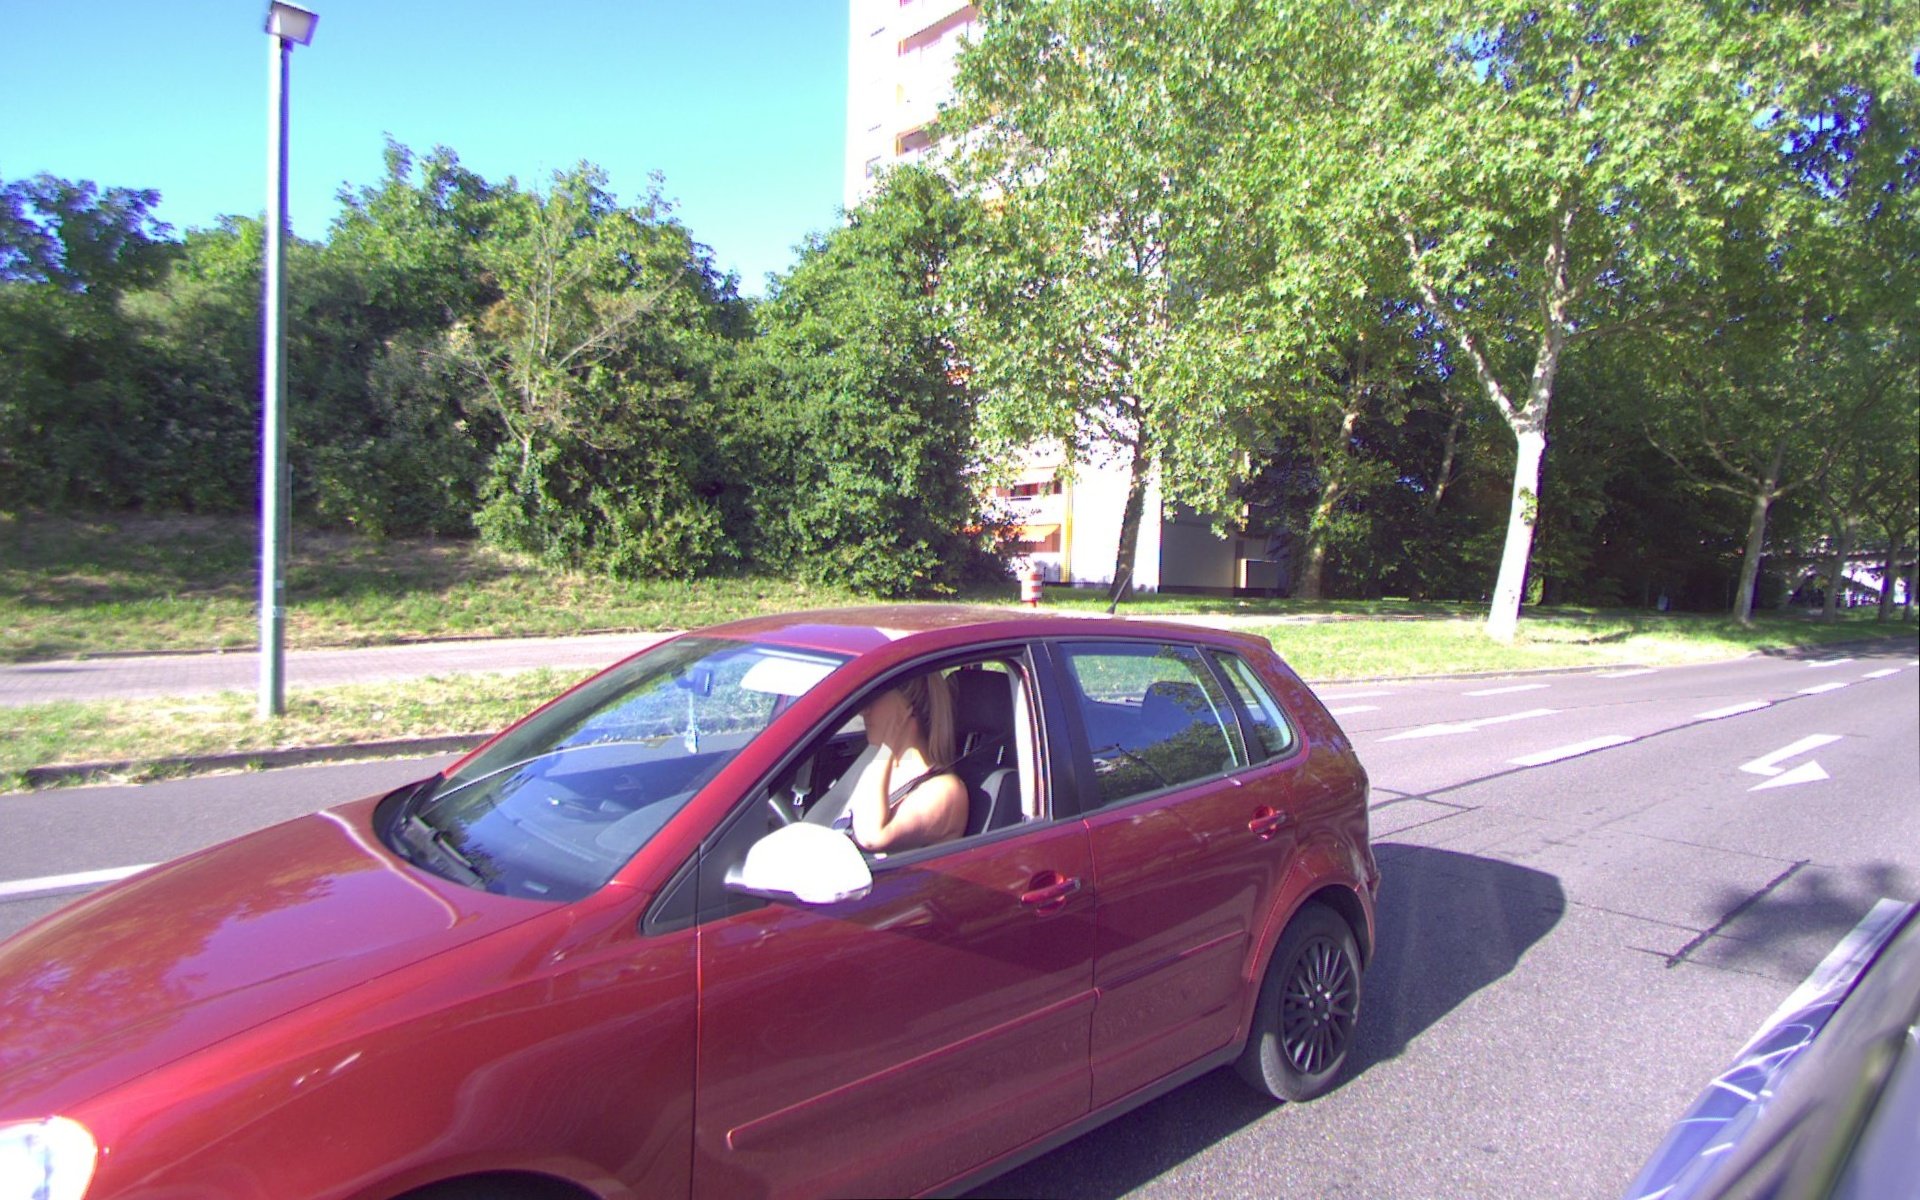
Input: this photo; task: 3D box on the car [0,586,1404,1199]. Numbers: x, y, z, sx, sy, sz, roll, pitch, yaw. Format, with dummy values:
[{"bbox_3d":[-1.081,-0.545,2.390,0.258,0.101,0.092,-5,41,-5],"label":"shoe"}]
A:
[{"bbox_3d":[-0.442,0.711,2.730,3.624,1.479,1.579,-1,0,-40],"label":"car"}]
